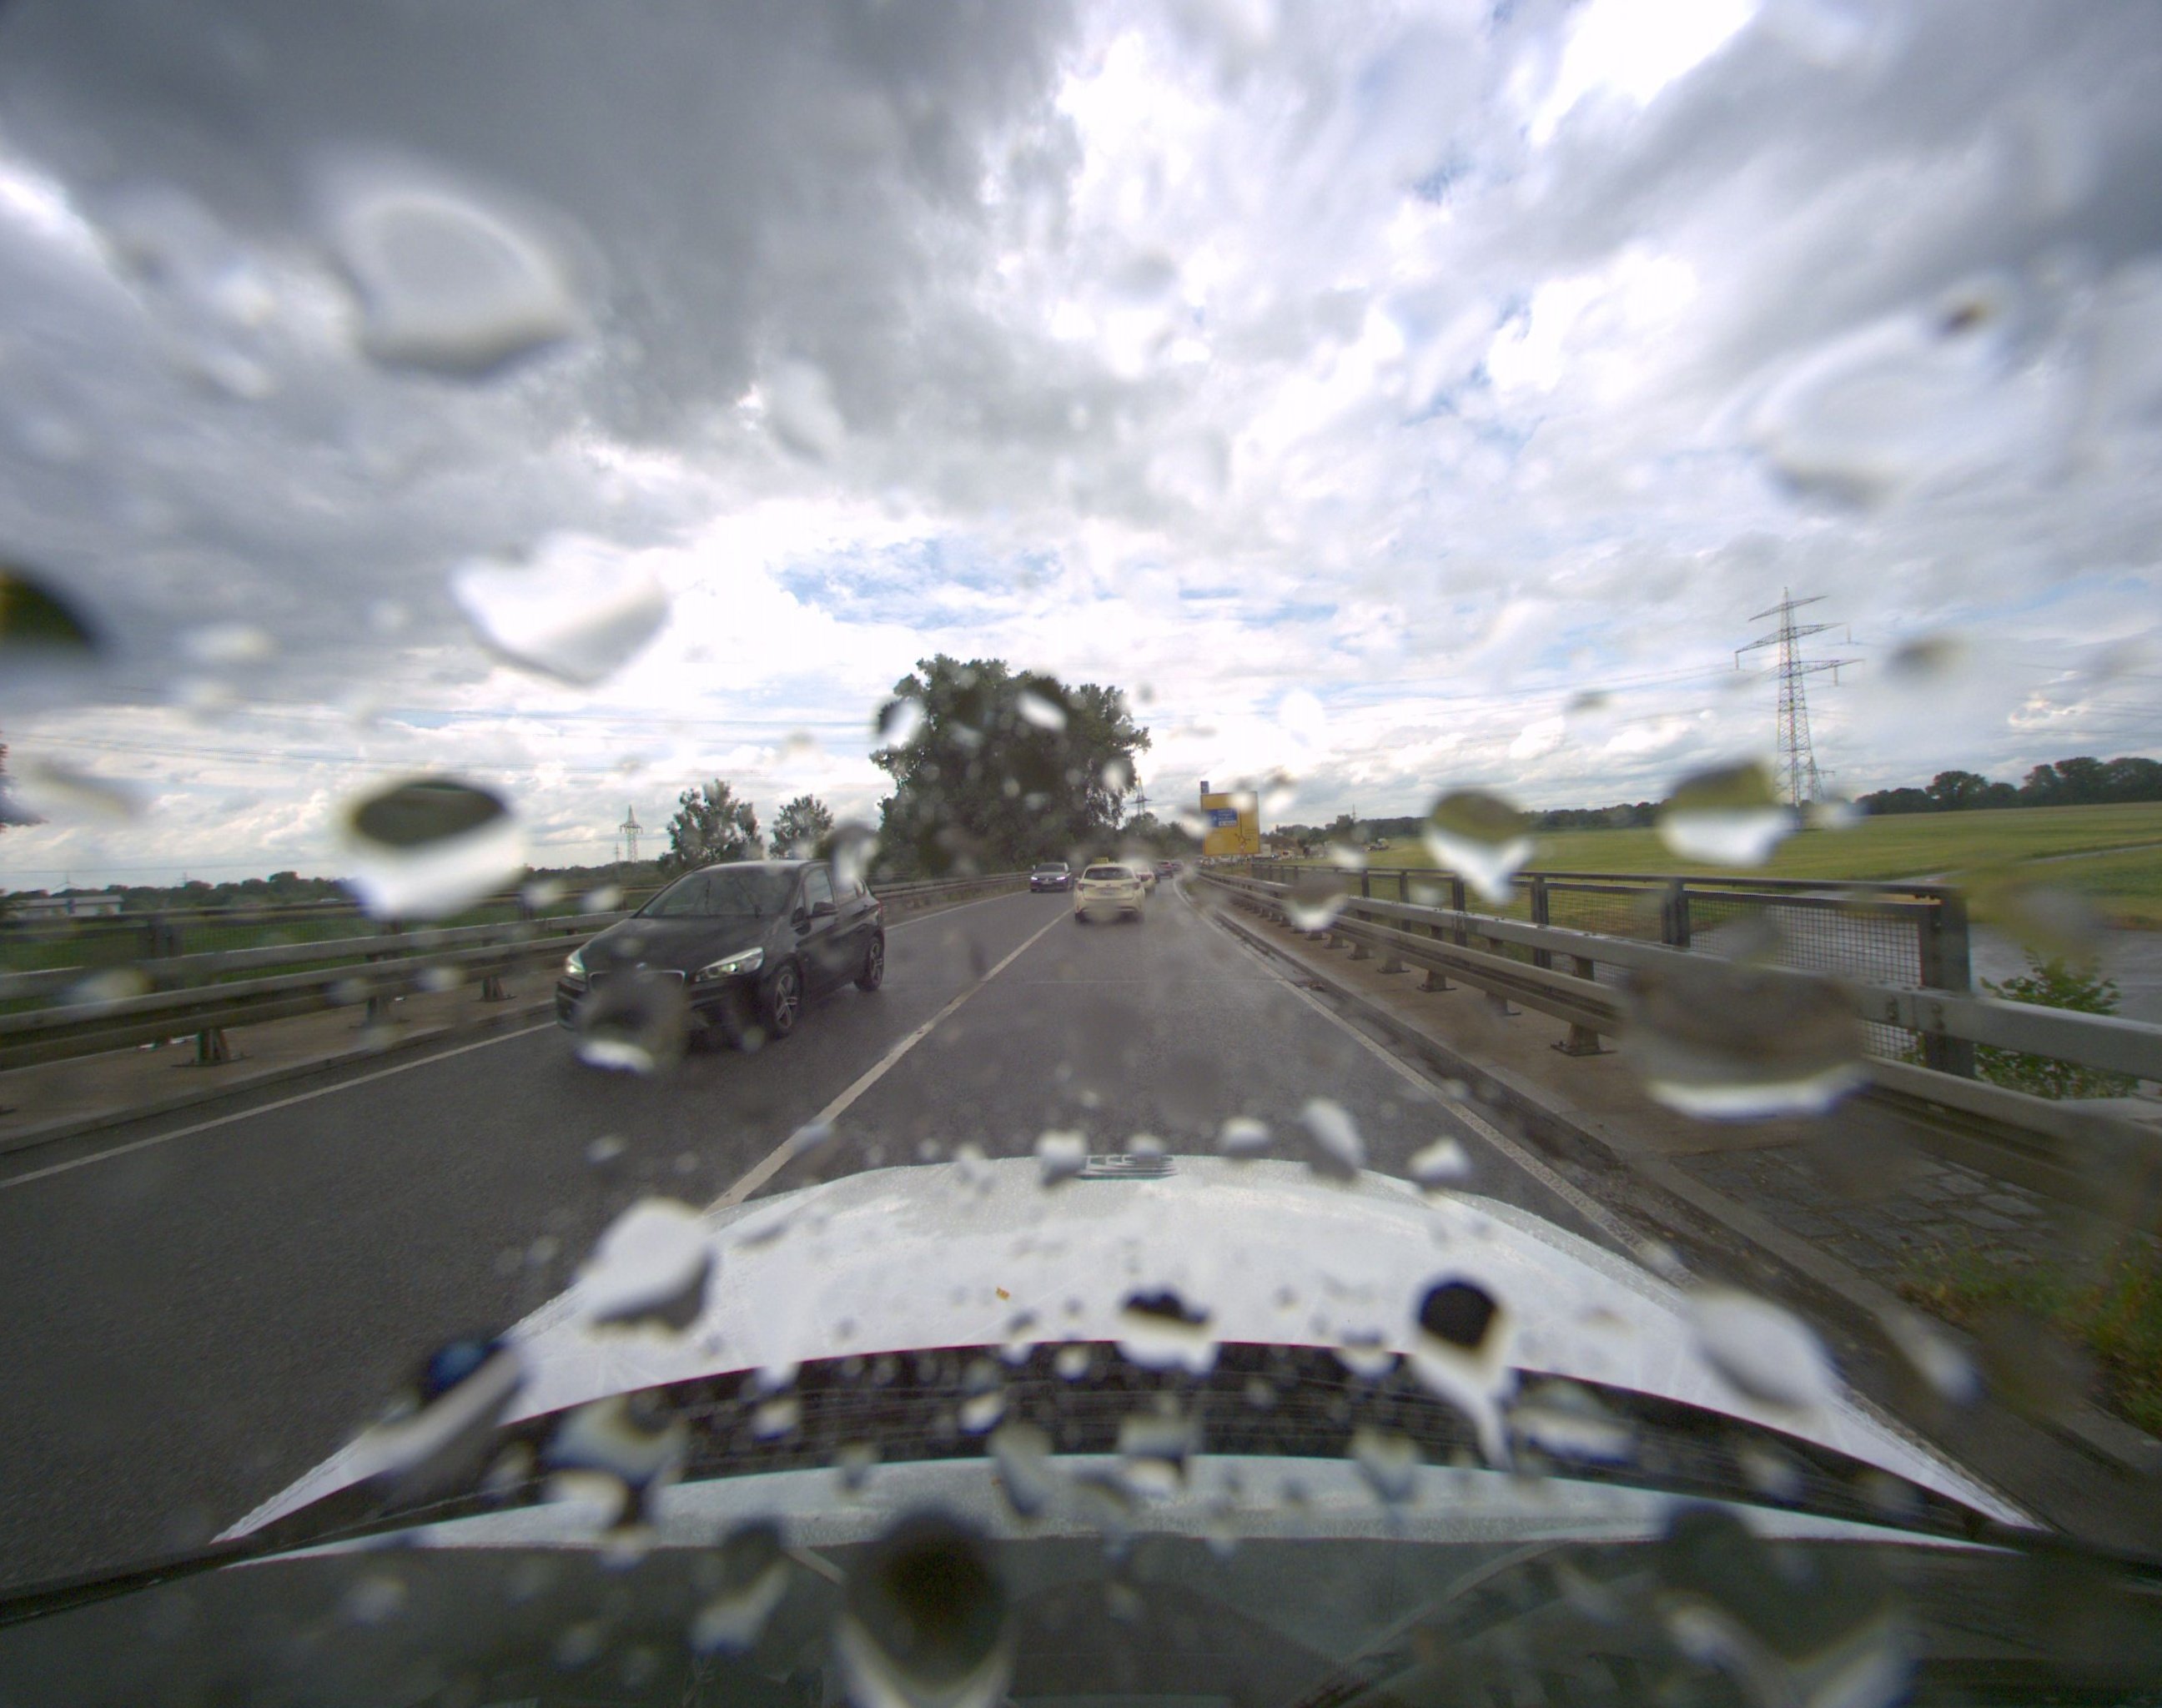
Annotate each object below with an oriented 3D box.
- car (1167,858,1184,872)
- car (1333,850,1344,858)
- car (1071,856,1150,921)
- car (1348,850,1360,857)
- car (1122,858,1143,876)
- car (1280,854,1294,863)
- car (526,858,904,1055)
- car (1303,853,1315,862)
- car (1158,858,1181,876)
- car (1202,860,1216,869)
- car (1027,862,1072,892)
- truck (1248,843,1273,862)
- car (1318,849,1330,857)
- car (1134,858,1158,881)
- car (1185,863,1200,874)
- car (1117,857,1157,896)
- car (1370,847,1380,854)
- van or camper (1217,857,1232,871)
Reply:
[{"bbox_3d":[10.606,1.256,91.115,1.650,1.409,3.913,-1,-2,9],"label":"car"},{"bbox_3d":[69.280,-0.091,219.106,1.975,2.014,4.024,-1,-2,28],"label":"car"},{"bbox_3d":[0.793,0.855,21.699,1.898,1.537,4.163,-1,-1,2],"label":"car"},{"bbox_3d":[76.587,-0.152,228.136,1.974,2.014,4.025,-2,-2,38],"label":"car"},{"bbox_3d":[5.549,1.351,87.514,1.851,1.892,4.499,-1,0,7],"label":"car"},{"bbox_3d":[47.133,0.948,186.253,2.146,2.014,4.024,-1,-1,27],"label":"car"},{"bbox_3d":[-3.356,0.825,8.474,1.891,1.541,4.027,-1,0,4],"label":"car"},{"bbox_3d":[56.027,0.873,200.239,1.974,2.014,4.024,-1,-2,29],"label":"car"},{"bbox_3d":[7.402,1.083,67.995,1.655,1.464,3.485,-1,-1,9],"label":"car"},{"bbox_3d":[19.439,1.585,123.623,1.471,1.309,3.493,-1,-1,18],"label":"car"},{"bbox_3d":[-1.540,1.126,40.927,1.827,1.443,4.106,-1,-1,3],"label":"car"},{"bbox_3d":[36.603,-0.289,165.978,3.111,3.562,7.565,-1,-1,26],"label":"truck"},{"bbox_3d":[63.326,-0.272,212.153,2.205,2.014,4.024,-1,-2,28],"label":"car"},{"bbox_3d":[4.292,1.026,54.345,1.499,1.437,3.358,-1,-1,3],"label":"car"},{"bbox_3d":[14.521,1.887,106.127,1.471,1.309,3.491,-1,-1,16],"label":"car"},{"bbox_3d":[2.419,0.936,34.755,1.570,1.572,3.686,-1,-1,5],"label":"car"},{"bbox_3d":[88.986,-1.166,246.405,1.745,2.013,4.026,-1,0,37],"label":"car"},{"bbox_3d":[24.521,1.711,138.777,1.978,2.254,4.017,-1,-1,16],"label":"van or camper"}]
